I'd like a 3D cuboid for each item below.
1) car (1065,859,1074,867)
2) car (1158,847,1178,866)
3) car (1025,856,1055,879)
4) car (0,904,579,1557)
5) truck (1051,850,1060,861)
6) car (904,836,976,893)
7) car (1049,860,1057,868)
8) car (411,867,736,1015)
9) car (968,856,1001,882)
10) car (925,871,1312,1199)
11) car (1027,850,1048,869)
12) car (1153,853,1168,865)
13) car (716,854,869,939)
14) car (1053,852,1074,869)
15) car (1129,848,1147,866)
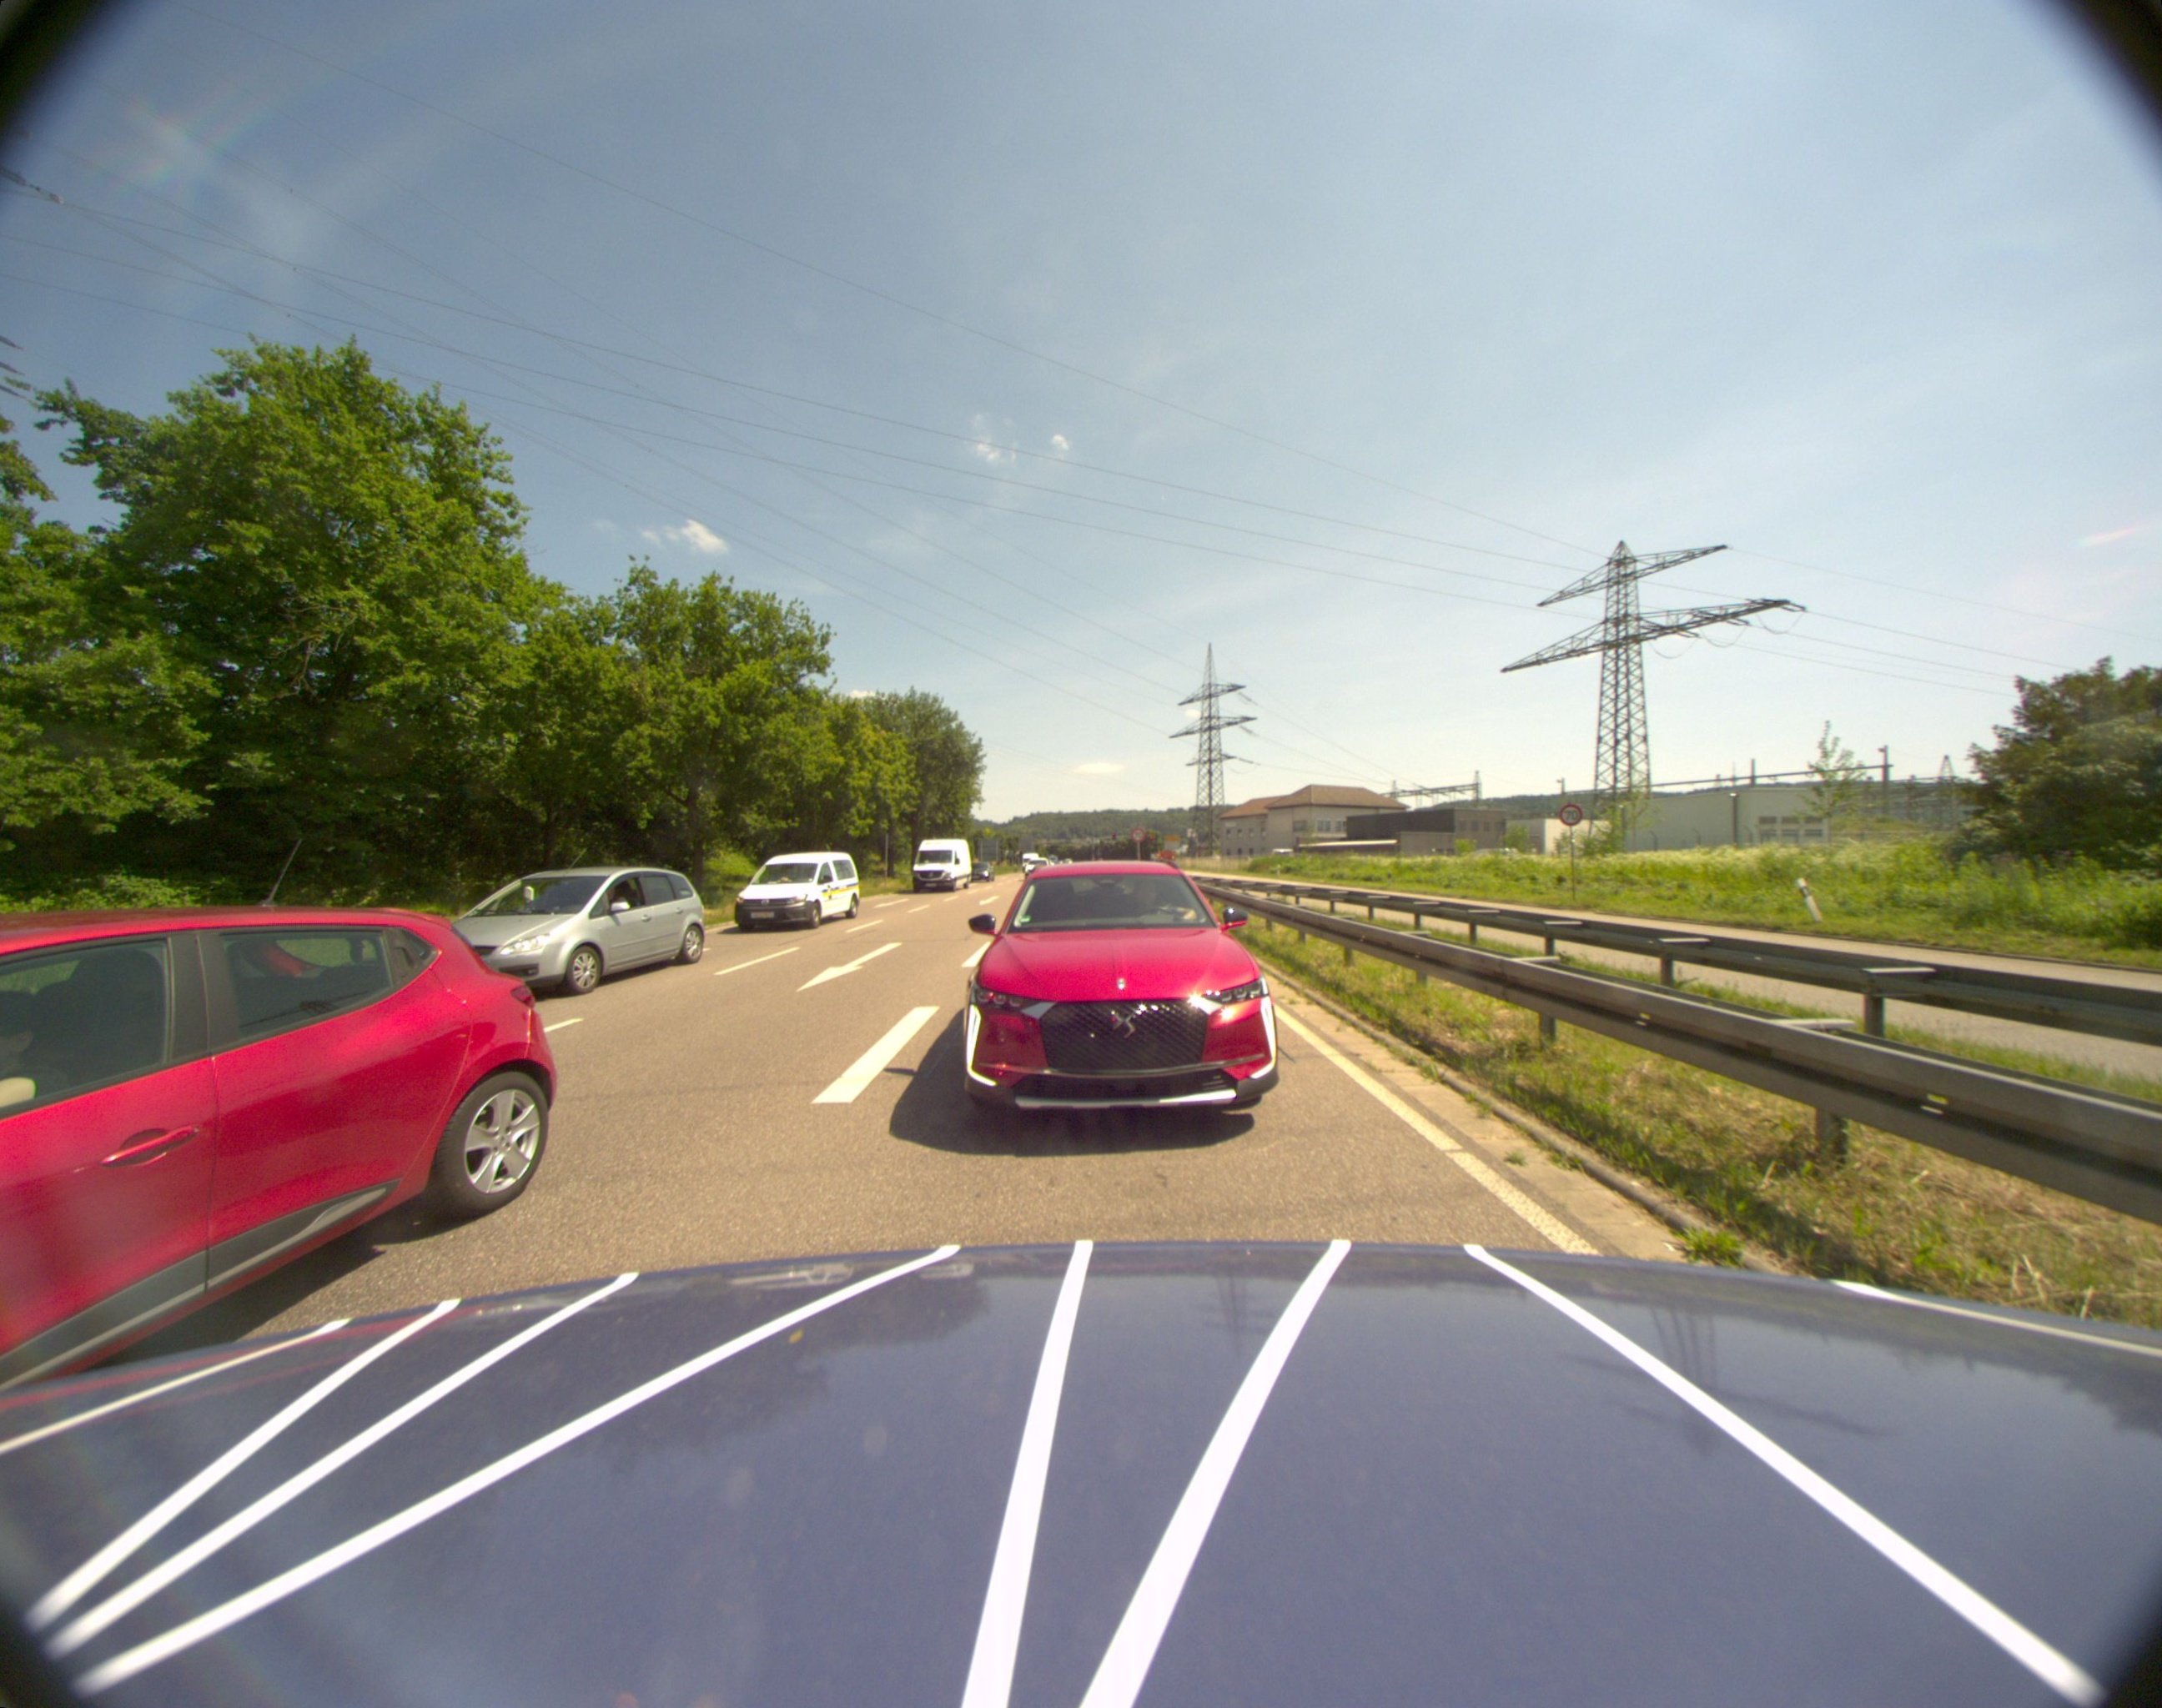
[{"bbox_3d":[-2.694,2.000,175.536,1.878,1.674,3.998,-2,1,-2],"label":"car"},{"bbox_3d":[14.383,0.388,125.735,2.607,3.043,5.638,0,0,0],"label":"car"},{"bbox_3d":[-2.975,0.932,56.160,1.850,1.559,4.363,-2,0,1],"label":"car"},{"bbox_3d":[-3.530,1.017,1.913,1.747,1.453,4.065,-2,0,1],"label":"car"},{"bbox_3d":[-6.533,0.356,192.593,2.170,2.428,4.909,-2,1,-2],"label":"truck"},{"bbox_3d":[-7.001,0.476,38.676,2.232,2.592,7.018,-2,0,0],"label":"car"},{"bbox_3d":[-6.356,2.238,172.335,1.878,1.674,3.998,-2,1,-2],"label":"car"},{"bbox_3d":[-6.901,1.054,11.016,1.747,1.585,4.272,-2,0,1],"label":"car"},{"bbox_3d":[-6.802,1.039,53.930,1.878,1.674,3.998,-2,1,-2],"label":"car"},{"bbox_3d":[0.211,0.940,5.936,1.846,1.453,4.414,-2,0,1],"label":"car"},{"bbox_3d":[-5.794,0.706,102.528,2.308,2.408,5.814,-2,0,1],"label":"car"},{"bbox_3d":[14.117,0.847,135.500,1.999,1.904,3.998,-2,1,-3],"label":"car"},{"bbox_3d":[-6.963,0.921,18.998,1.809,1.790,5.037,-2,0,0],"label":"car"},{"bbox_3d":[-1.778,0.626,76.847,2.022,1.671,3.999,-2,0,-1],"label":"car"},{"bbox_3d":[9.682,0.447,130.038,2.607,3.043,5.638,0,0,0],"label":"car"}]
